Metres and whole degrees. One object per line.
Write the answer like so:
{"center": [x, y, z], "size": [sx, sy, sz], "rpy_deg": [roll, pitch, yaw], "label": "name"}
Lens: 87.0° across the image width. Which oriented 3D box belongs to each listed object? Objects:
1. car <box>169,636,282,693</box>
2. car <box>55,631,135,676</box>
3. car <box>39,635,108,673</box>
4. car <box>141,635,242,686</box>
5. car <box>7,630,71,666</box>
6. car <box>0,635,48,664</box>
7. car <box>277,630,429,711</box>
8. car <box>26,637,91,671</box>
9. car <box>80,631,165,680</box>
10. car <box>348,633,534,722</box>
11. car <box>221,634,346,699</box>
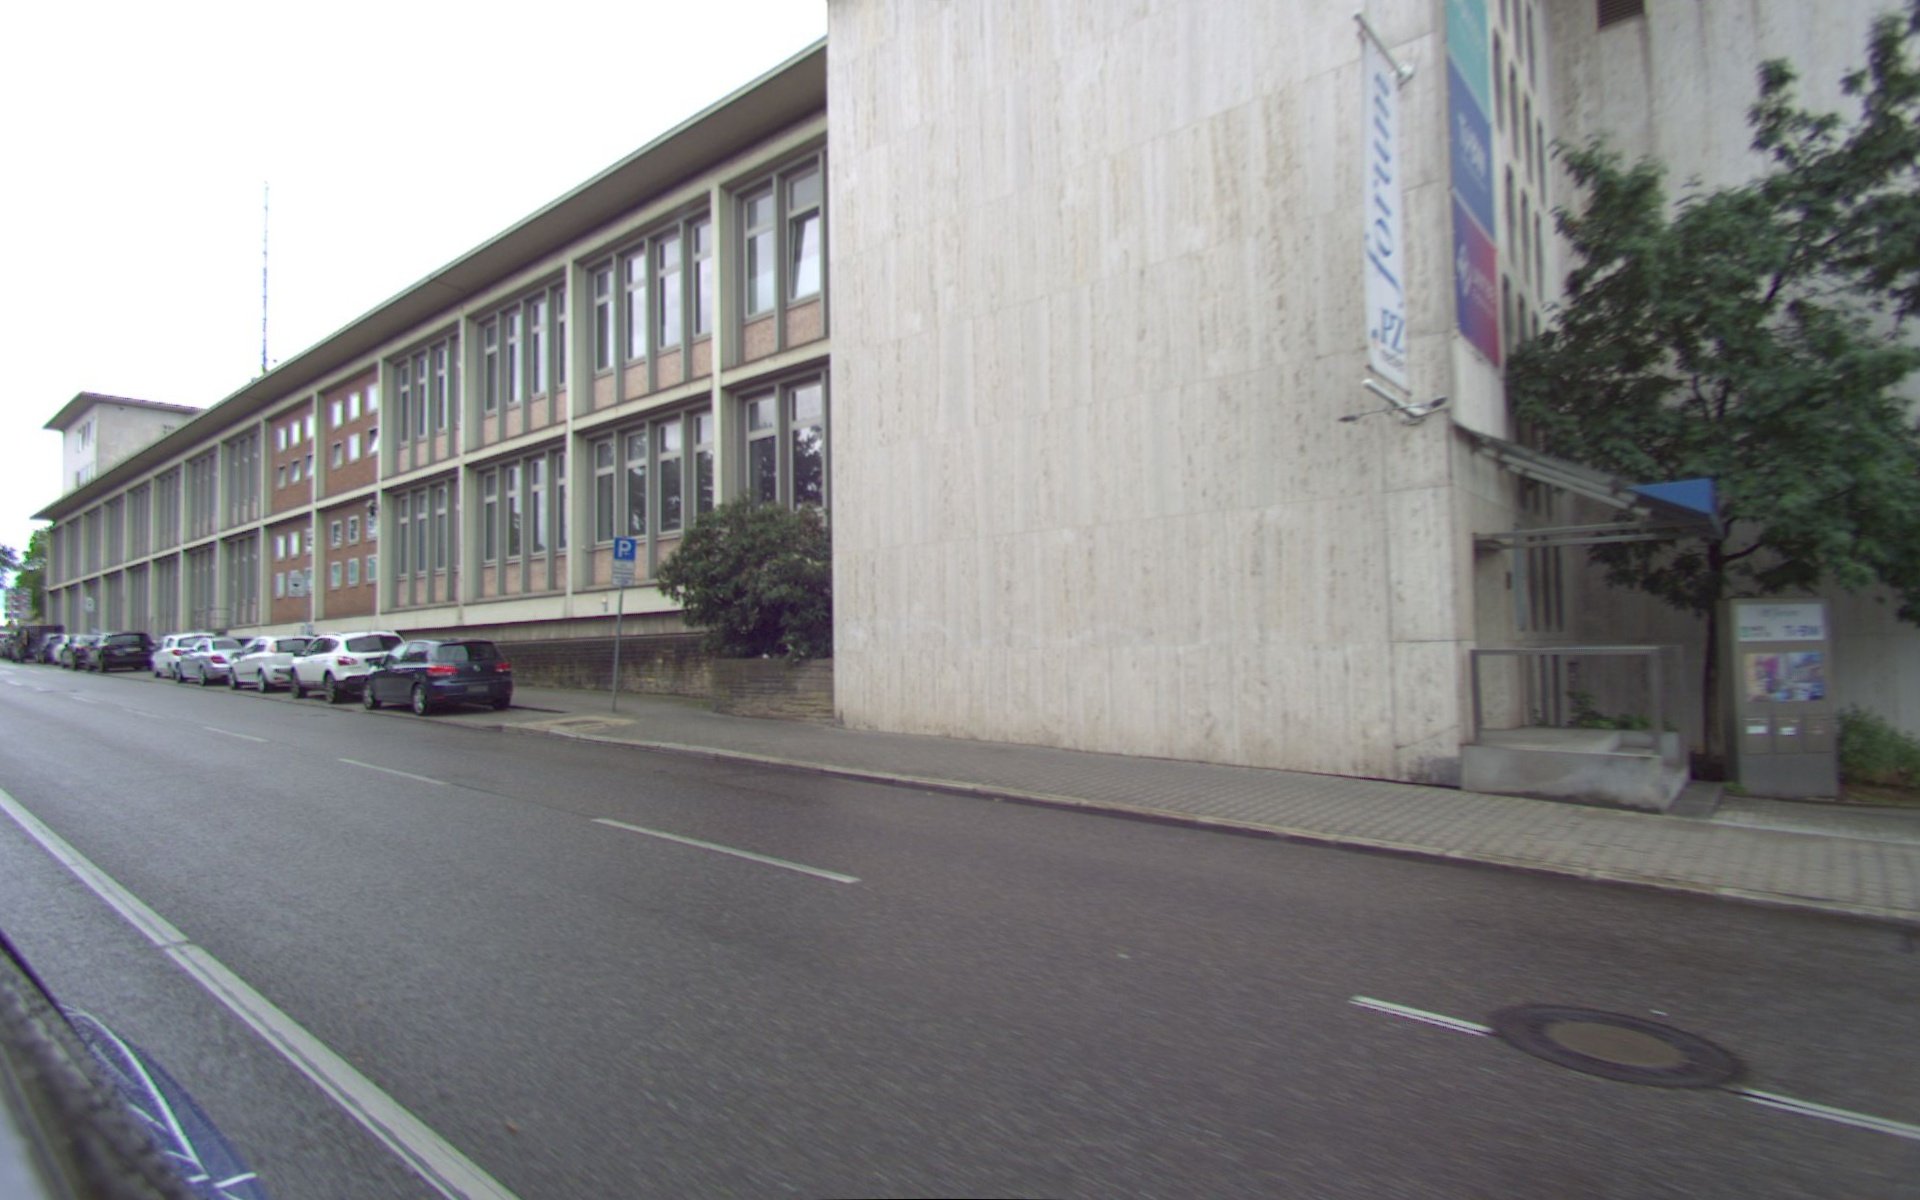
{"center": [-22.740, 1.929, 31.280], "size": [4.184, 1.502, 1.973], "rpy_deg": [-1, 0, 41], "label": "car"}
{"center": [-37.605, 2.292, 43.963], "size": [3.996, 1.747, 1.974], "rpy_deg": [-1, 0, 39], "label": "car"}
{"center": [-42.706, 2.561, 48.712], "size": [3.998, 1.590, 1.973], "rpy_deg": [-1, 0, 41], "label": "car"}
{"center": [-26.833, 2.051, 35.301], "size": [3.997, 1.541, 1.973], "rpy_deg": [-1, 0, 40], "label": "car"}
{"center": [-49.517, 2.565, 54.379], "size": [3.997, 1.659, 1.974], "rpy_deg": [0, 2, 40], "label": "car"}
{"center": [-56.297, 2.926, 60.701], "size": [3.999, 1.543, 1.972], "rpy_deg": [-1, 0, 42], "label": "car"}
{"center": [-14.600, 1.609, 24.279], "size": [3.998, 1.654, 1.973], "rpy_deg": [-1, 0, 41], "label": "car"}
{"center": [-45.913, 2.713, 51.536], "size": [3.998, 1.548, 1.973], "rpy_deg": [-1, 0, 41], "label": "car"}
{"center": [-33.630, 2.178, 40.610], "size": [3.997, 1.724, 1.973], "rpy_deg": [-1, 0, 40], "label": "car"}
{"center": [-10.720, 1.507, 20.802], "size": [3.996, 1.541, 1.974], "rpy_deg": [-1, 0, 39], "label": "car"}
{"center": [-18.727, 1.774, 27.954], "size": [3.999, 1.523, 1.972], "rpy_deg": [-1, 0, 42], "label": "car"}
